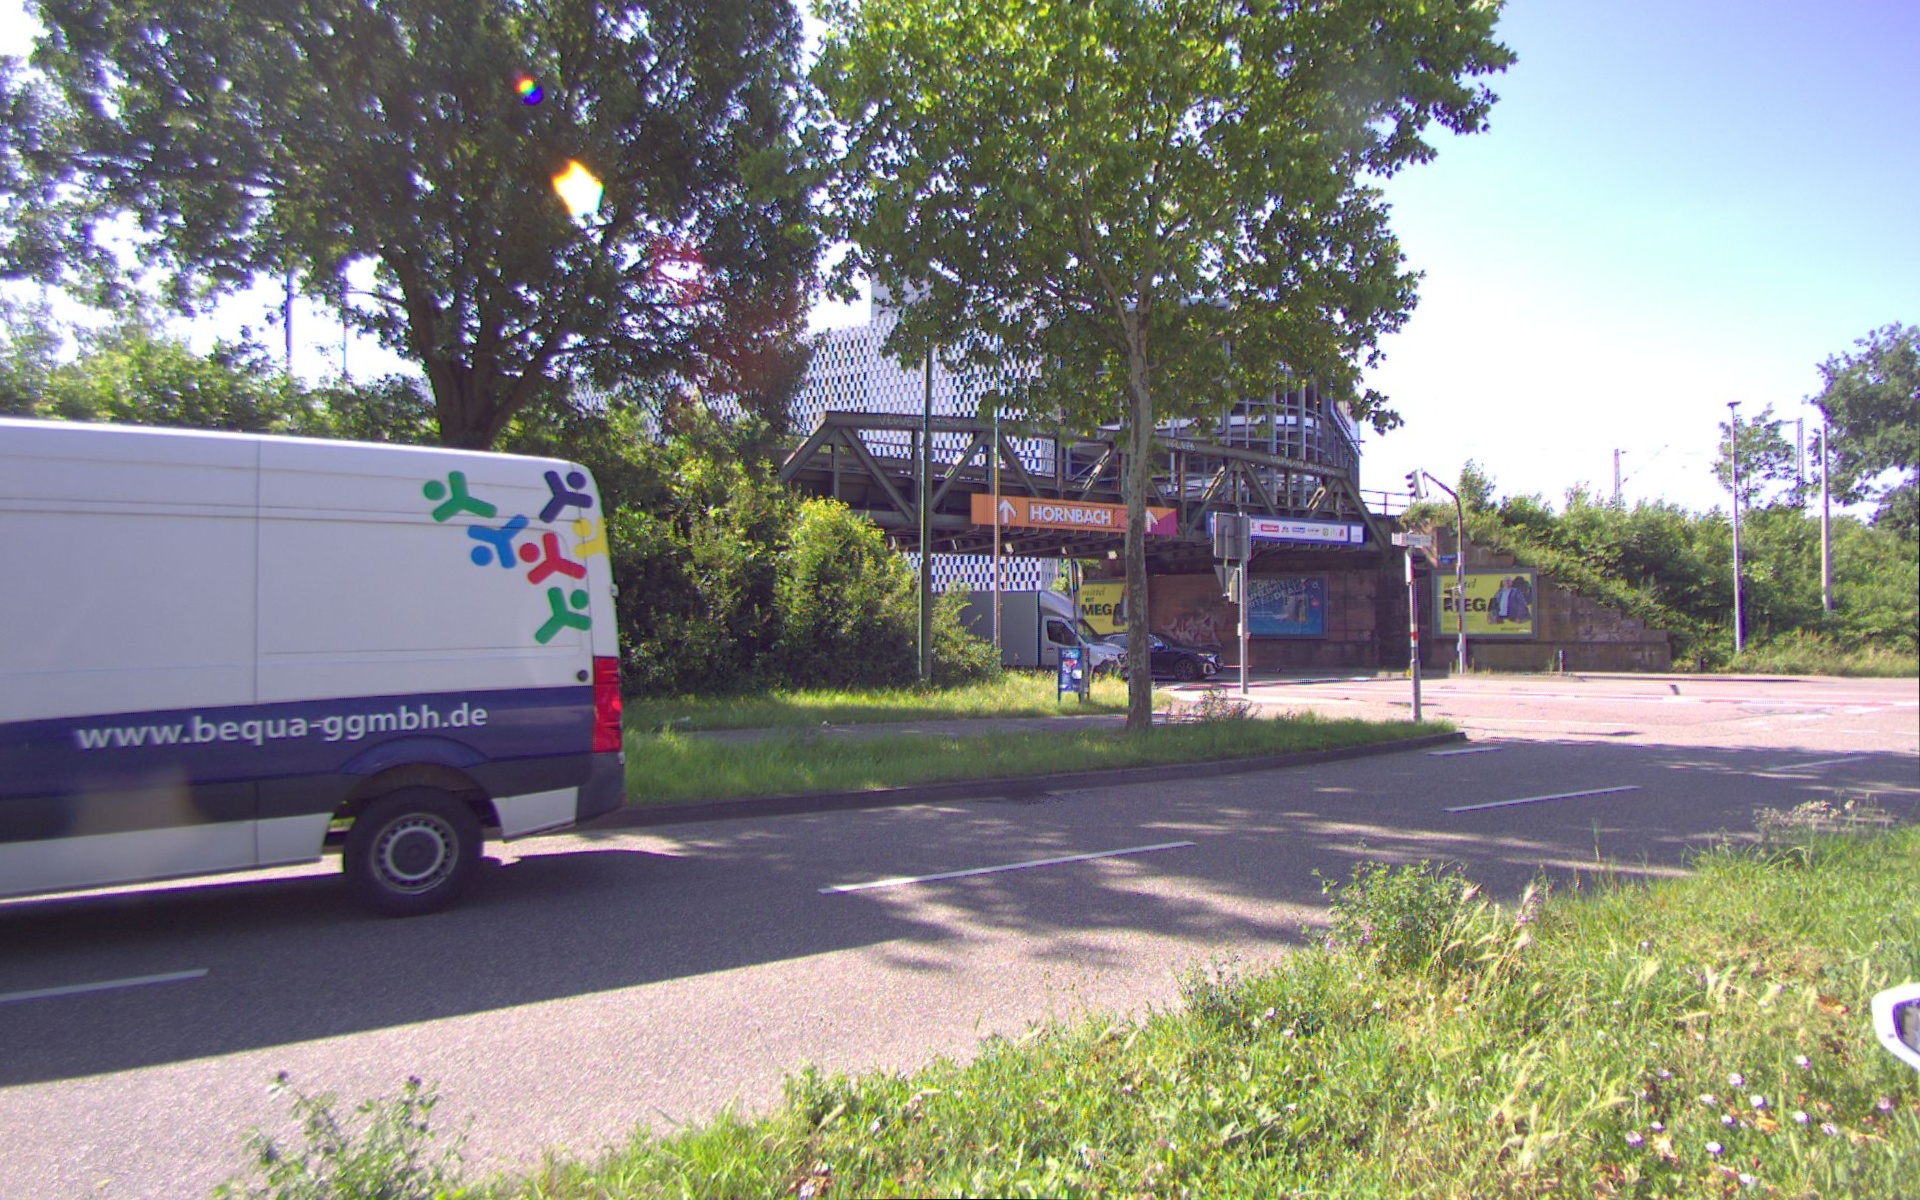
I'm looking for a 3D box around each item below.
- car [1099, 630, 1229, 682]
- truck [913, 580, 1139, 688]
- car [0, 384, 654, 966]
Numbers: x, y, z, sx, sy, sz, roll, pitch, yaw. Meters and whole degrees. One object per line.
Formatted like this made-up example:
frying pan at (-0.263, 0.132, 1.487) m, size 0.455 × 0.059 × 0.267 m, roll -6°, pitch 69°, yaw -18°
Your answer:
car at (6.946, 1.889, 34.223) m, size 3.926 × 1.668 × 1.902 m, roll -2°, pitch -2°, yaw 27°
truck at (2.017, 1.115, 31.727) m, size 6.739 × 3.146 × 2.216 m, roll -2°, pitch -2°, yaw 27°
car at (-4.843, 0.381, 5.579) m, size 5.719 × 2.697 × 1.984 m, roll 1°, pitch -3°, yaw -30°
